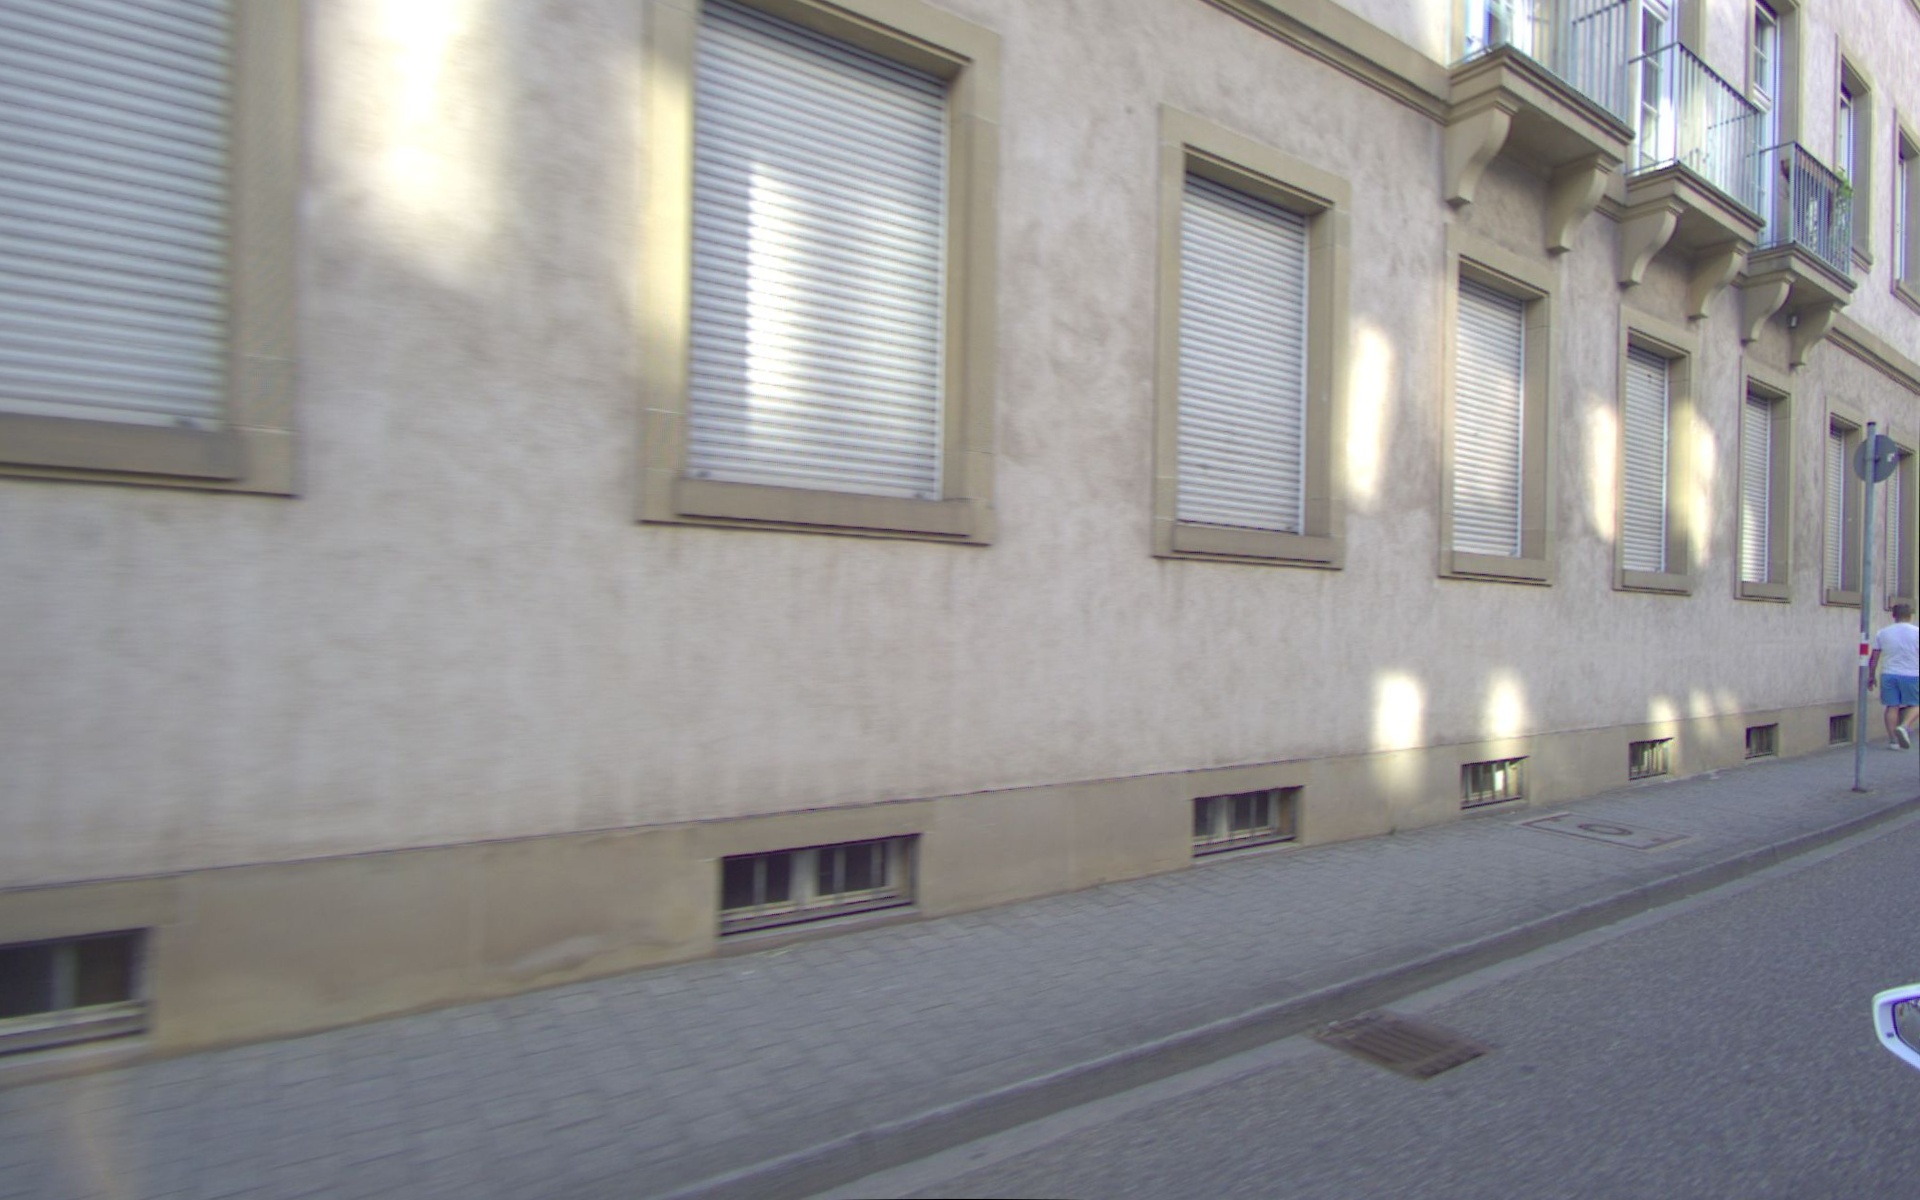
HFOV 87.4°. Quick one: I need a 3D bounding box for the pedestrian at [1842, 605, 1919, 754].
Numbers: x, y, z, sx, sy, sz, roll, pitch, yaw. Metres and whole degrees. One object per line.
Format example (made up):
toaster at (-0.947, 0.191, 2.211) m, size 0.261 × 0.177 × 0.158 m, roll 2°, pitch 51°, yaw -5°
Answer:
pedestrian at (11.262, 0.926, 12.108) m, size 0.866 × 1.692 × 0.688 m, roll 2°, pitch 1°, yaw -35°
